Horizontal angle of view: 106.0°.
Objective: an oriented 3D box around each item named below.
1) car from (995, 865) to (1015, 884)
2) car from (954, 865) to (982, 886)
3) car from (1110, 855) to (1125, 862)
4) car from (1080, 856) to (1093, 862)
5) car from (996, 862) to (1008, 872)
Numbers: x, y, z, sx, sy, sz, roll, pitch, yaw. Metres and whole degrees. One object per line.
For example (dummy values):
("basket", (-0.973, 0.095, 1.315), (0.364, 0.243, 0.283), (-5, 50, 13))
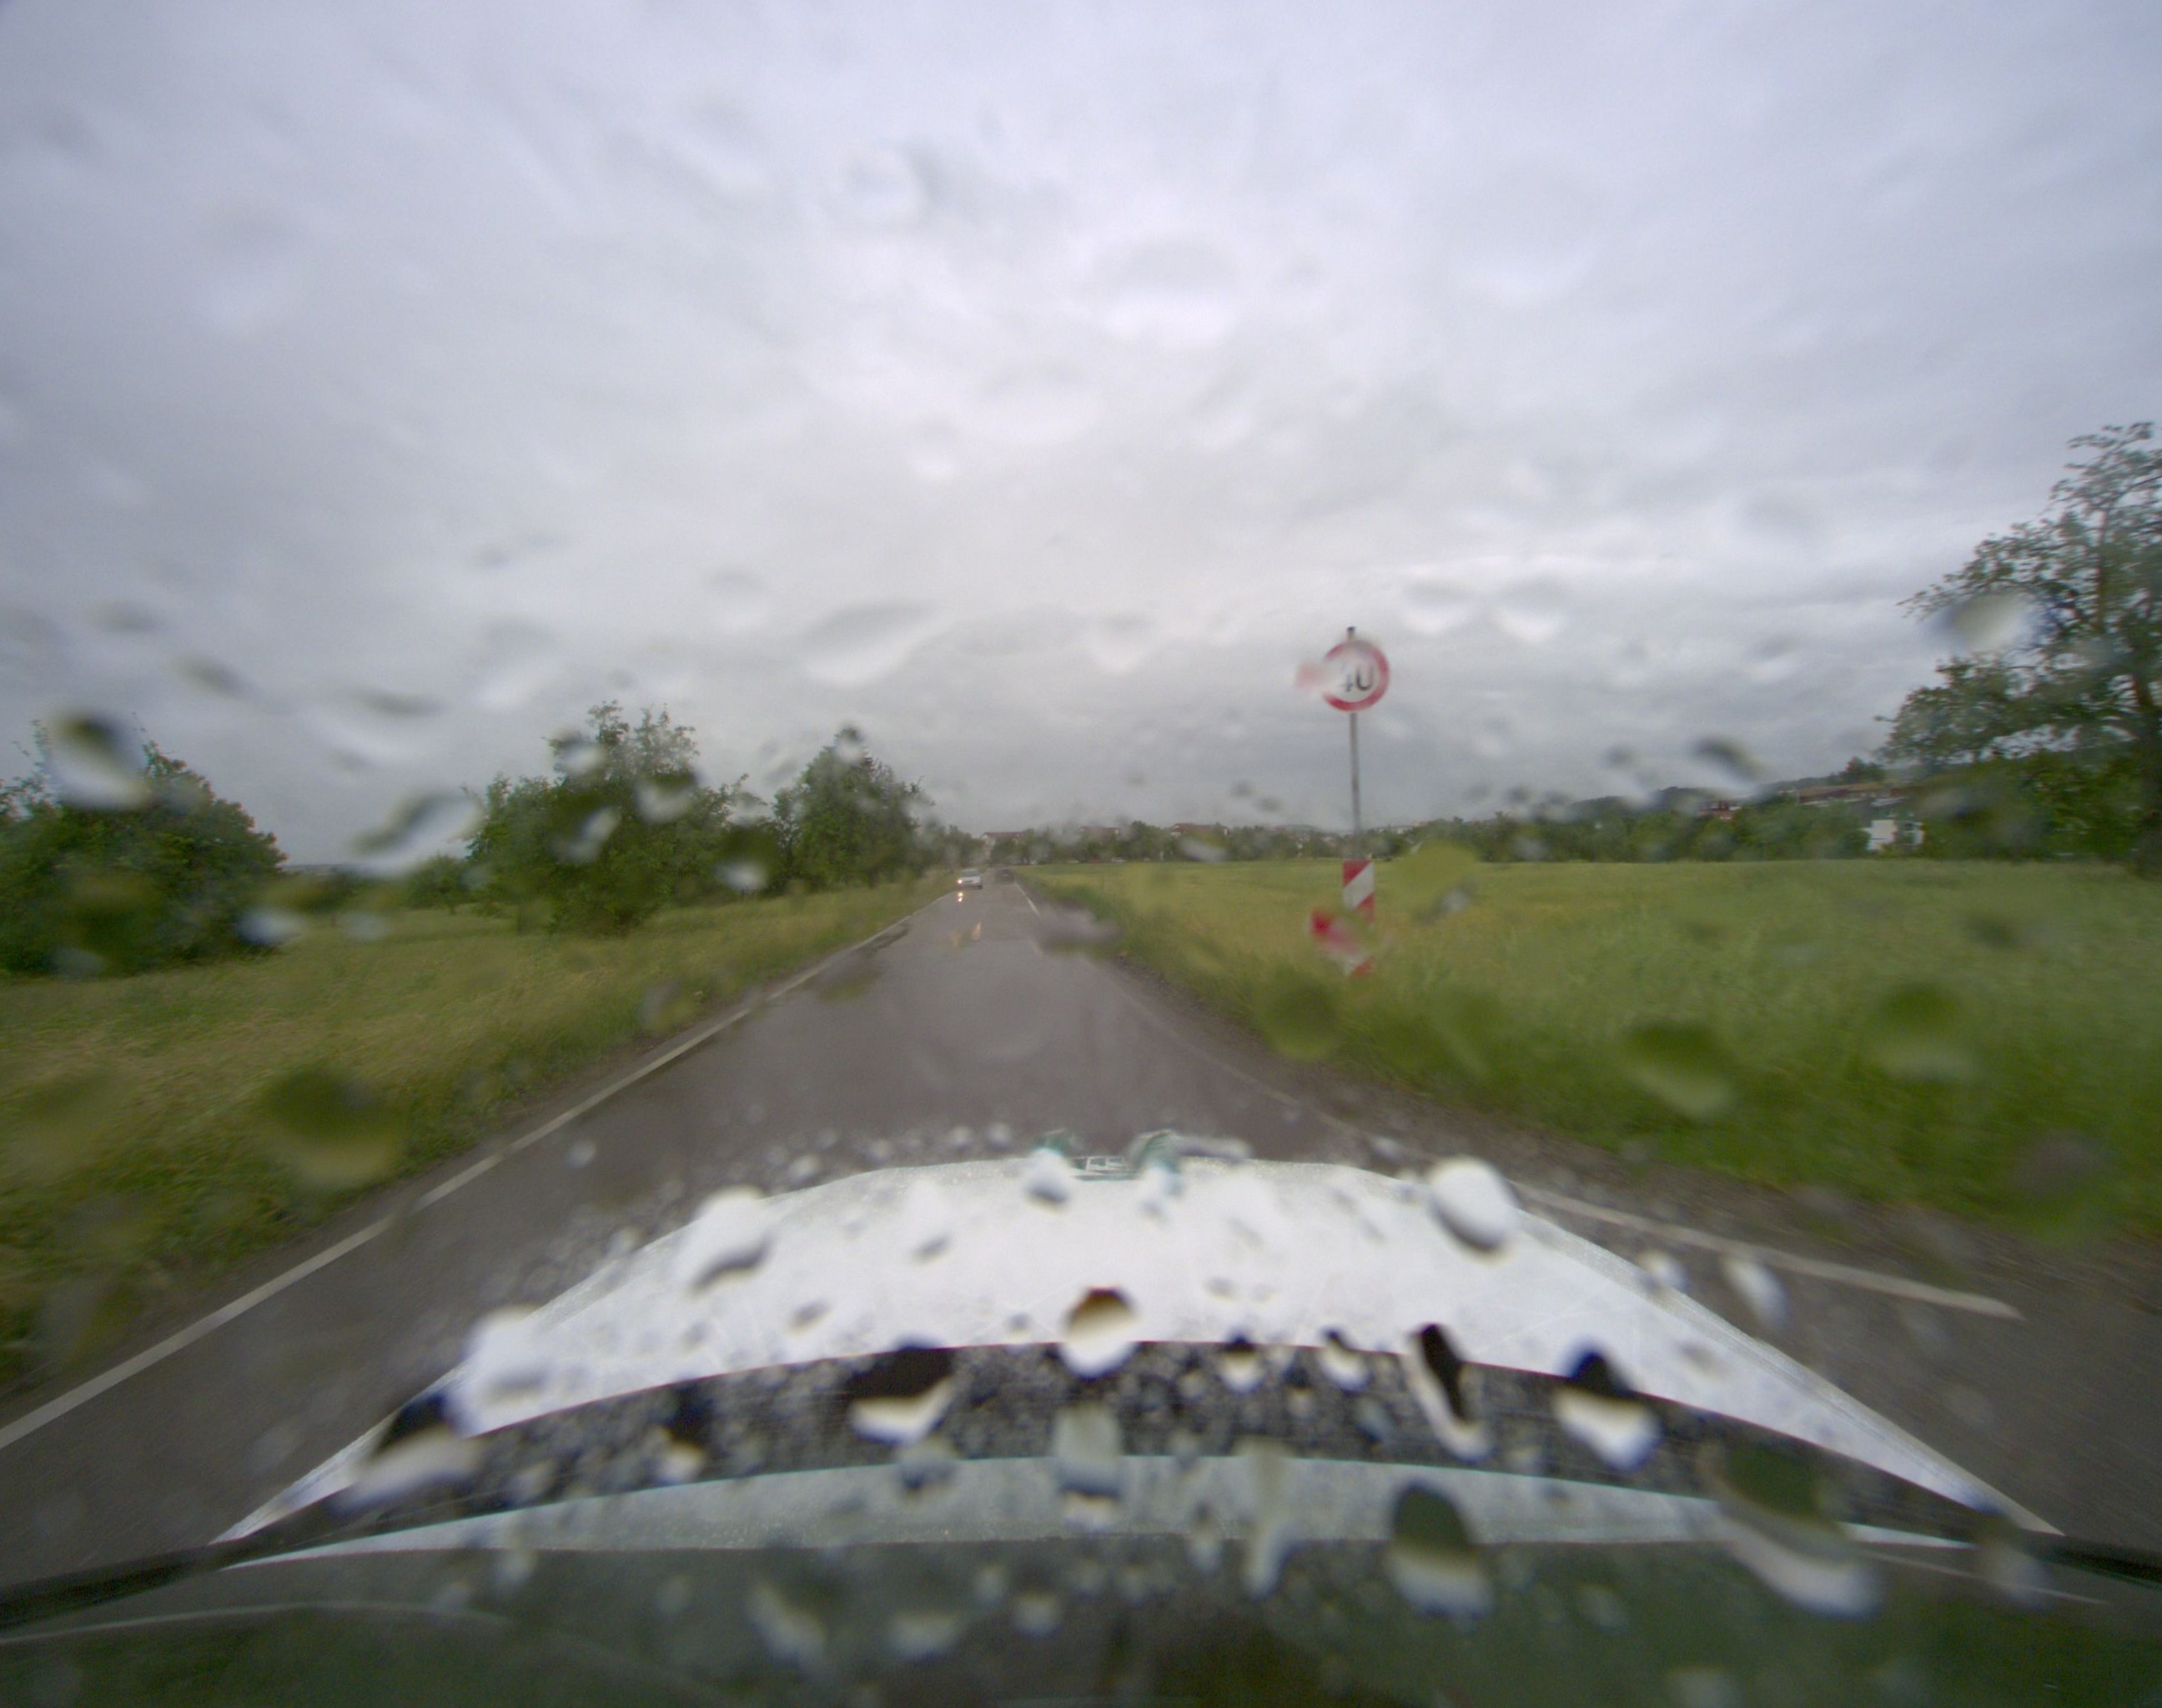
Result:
("car", (-7.145, 1.929, 76.674), (1.812, 1.594, 3.993), (-2, -1, -5))
("car", (-8.353, 1.589, 60.615), (1.736, 1.471, 4.115), (-2, -1, -5))
("car", (9.428, 1.217, 210.542), (3.689, 1.564, 1.613), (-3, -1, 7))
("car", (1.481, 1.336, 211.464), (3.175, 1.371, 1.575), (-3, -1, 7))
("car", (-13.489, 2.243, 139.054), (1.812, 1.594, 3.993), (-2, -1, -5))
